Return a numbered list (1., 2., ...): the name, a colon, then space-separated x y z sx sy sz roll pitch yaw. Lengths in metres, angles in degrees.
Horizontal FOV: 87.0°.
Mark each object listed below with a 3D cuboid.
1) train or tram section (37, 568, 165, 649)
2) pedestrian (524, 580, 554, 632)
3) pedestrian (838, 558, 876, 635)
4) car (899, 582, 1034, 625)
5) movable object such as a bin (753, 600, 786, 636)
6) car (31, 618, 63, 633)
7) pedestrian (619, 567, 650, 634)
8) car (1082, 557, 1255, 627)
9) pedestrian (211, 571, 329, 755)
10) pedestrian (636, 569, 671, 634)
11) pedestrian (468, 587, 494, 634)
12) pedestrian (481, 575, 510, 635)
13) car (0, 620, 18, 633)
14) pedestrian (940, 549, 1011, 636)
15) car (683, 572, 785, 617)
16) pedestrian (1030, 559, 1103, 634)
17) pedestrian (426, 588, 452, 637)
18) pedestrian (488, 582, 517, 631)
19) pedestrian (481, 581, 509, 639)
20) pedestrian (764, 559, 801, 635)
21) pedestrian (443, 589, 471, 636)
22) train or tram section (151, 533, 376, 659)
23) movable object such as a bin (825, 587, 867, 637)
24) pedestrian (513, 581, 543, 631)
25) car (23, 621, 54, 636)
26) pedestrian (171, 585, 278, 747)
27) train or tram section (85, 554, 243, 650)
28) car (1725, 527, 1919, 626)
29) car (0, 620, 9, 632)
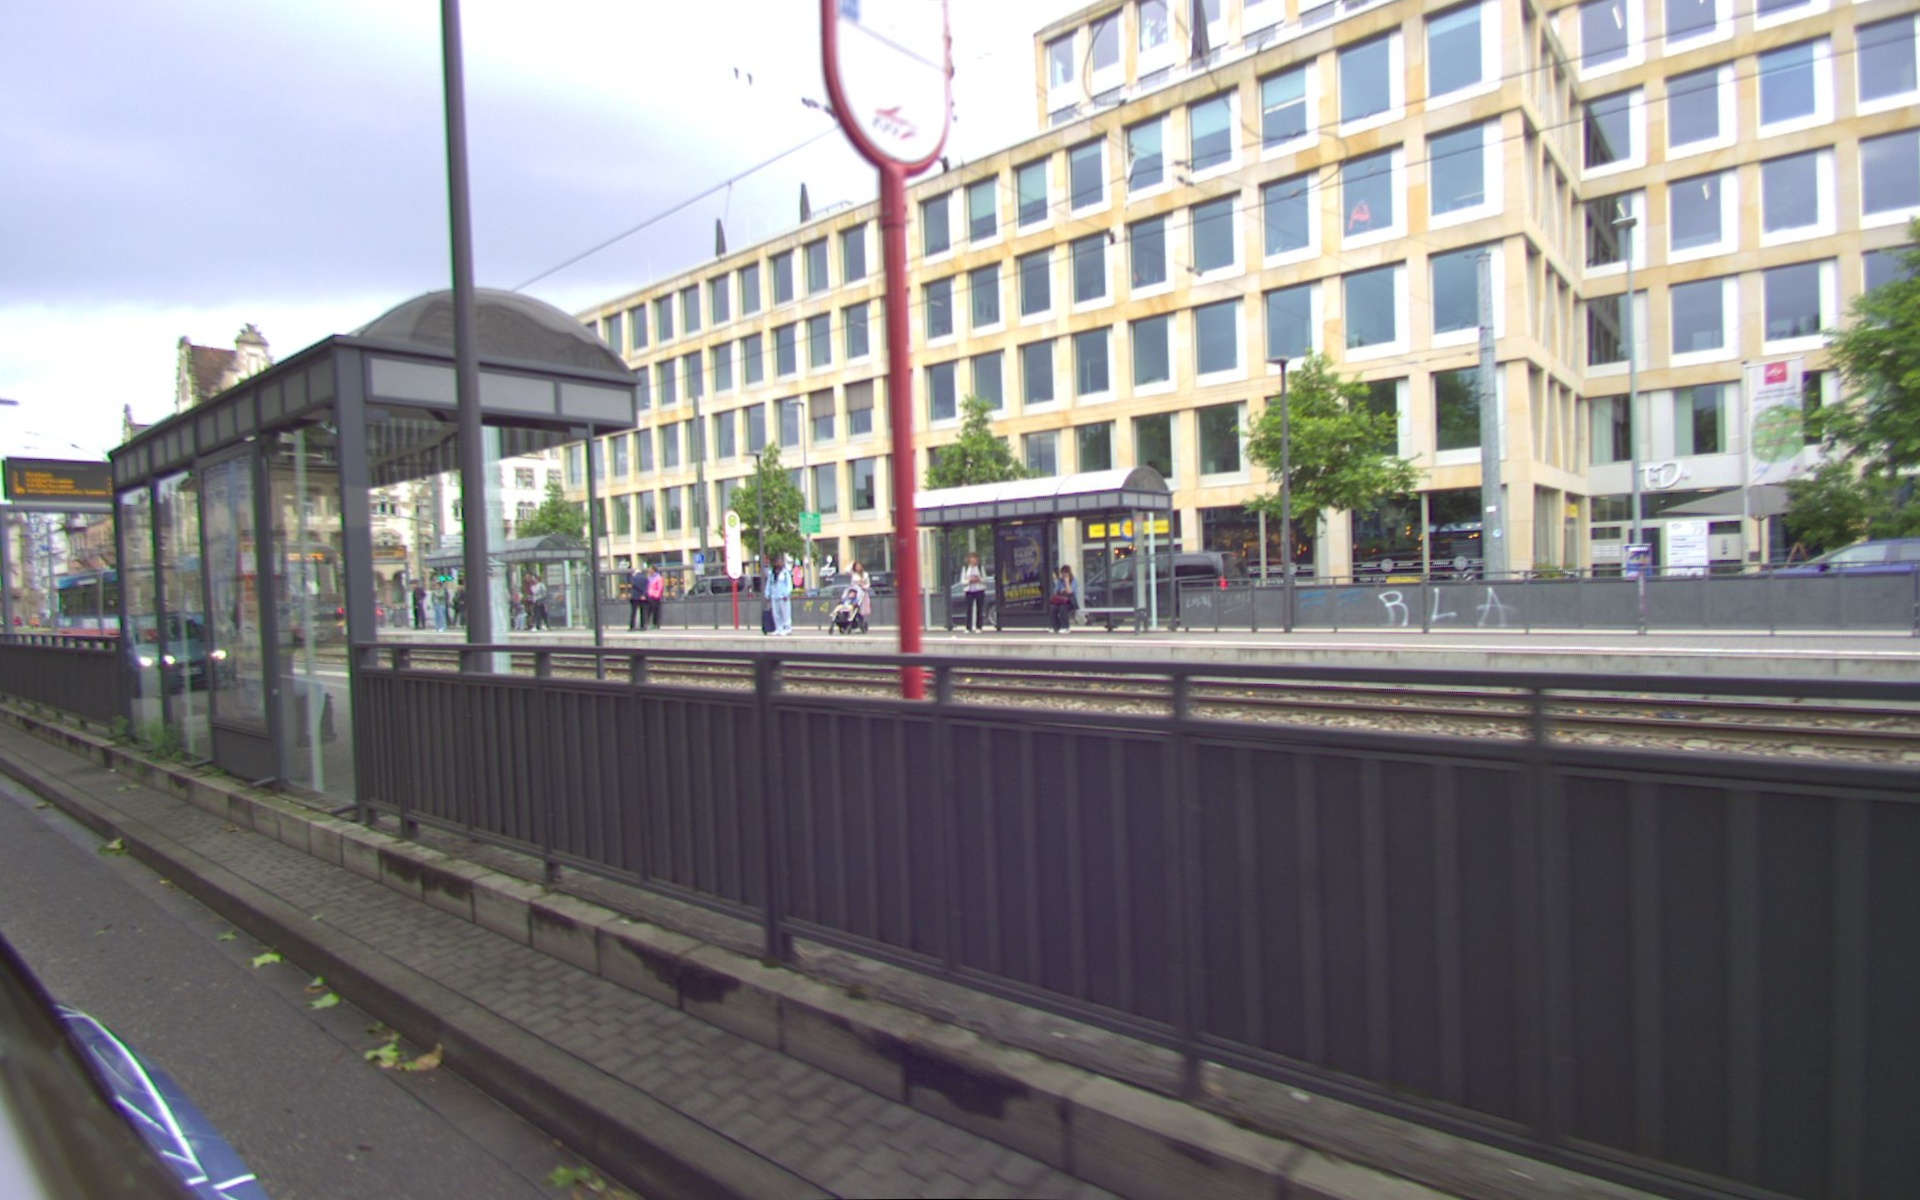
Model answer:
1. train or tram section: -43.455 0.405 50.997 11.754 3.667 2.827 -1 1 40
2. pedestrian: -13.194 0.184 31.741 0.593 1.599 0.584 -1 1 22
3. pedestrian: -2.231 -0.081 21.990 0.649 1.619 0.578 -2 1 7
4. car: 0.172 0.105 31.697 3.999 1.236 1.876 -1 2 42
5. movable object such as a bin: -4.168 0.398 22.174 0.529 0.753 0.469 -3 2 -43
6. car: -103.666 2.852 114.949 3.994 1.608 1.975 -1 2 37
7. pedestrian: -8.853 0.011 27.550 0.589 1.782 0.588 -2 1 3
8. car: 5.438 -0.209 26.683 3.999 1.674 1.972 -1 2 42
9. pedestrian: -5.522 0.474 8.099 0.599 1.383 0.604 -1 1 41
10. pedestrian: -8.924 0.041 29.454 0.690 1.868 0.721 -3 1 -43
11. pedestrian: -16.667 0.369 35.202 0.588 1.599 0.589 -2 1 -3
12. pedestrian: -14.073 0.145 30.651 0.588 1.782 0.589 -3 1 -43
13. car: -128.013 3.525 135.512 3.994 1.608 1.975 -1 2 37
14. pedestrian: 0.320 -0.163 20.403 0.939 1.698 1.027 -1 1 43
15. car: -8.978 -0.218 40.034 3.999 1.674 1.972 -1 2 42
16. pedestrian: 2.039 -0.083 19.424 0.939 1.382 1.027 -1 2 43
17. pedestrian: -17.458 0.412 33.917 0.588 1.599 0.589 -3 1 -43
18. pedestrian: -15.207 0.205 33.675 0.593 1.599 0.584 -1 1 22
19. pedestrian: -14.621 0.320 31.801 0.588 1.782 0.589 -3 1 -43
20. pedestrian: -3.825 -0.070 21.791 0.529 1.619 0.566 -3 1 -43
21. pedestrian: -17.505 0.421 35.239 0.593 1.599 0.584 -1 1 22
22. train or tram section: -24.773 -0.101 35.476 13.508 3.719 2.827 -1 1 40
23. movable object such as a bin: -2.409 0.251 21.433 0.714 1.029 0.620 -2 1 7
24. pedestrian: -13.832 0.189 32.416 0.593 1.599 0.584 -1 1 22
25. car: -108.827 3.356 119.490 3.994 1.608 1.975 -1 2 37
26. pedestrian: -6.492 0.552 8.940 0.599 1.351 0.604 -1 1 41
27. train or tram section: -34.453 0.101 43.555 11.688 3.667 2.827 -1 1 39
28. car: 16.450 -0.425 18.310 3.999 1.674 1.972 -1 2 42
29. car: -132.773 3.642 139.407 3.994 1.608 1.975 -1 2 37
